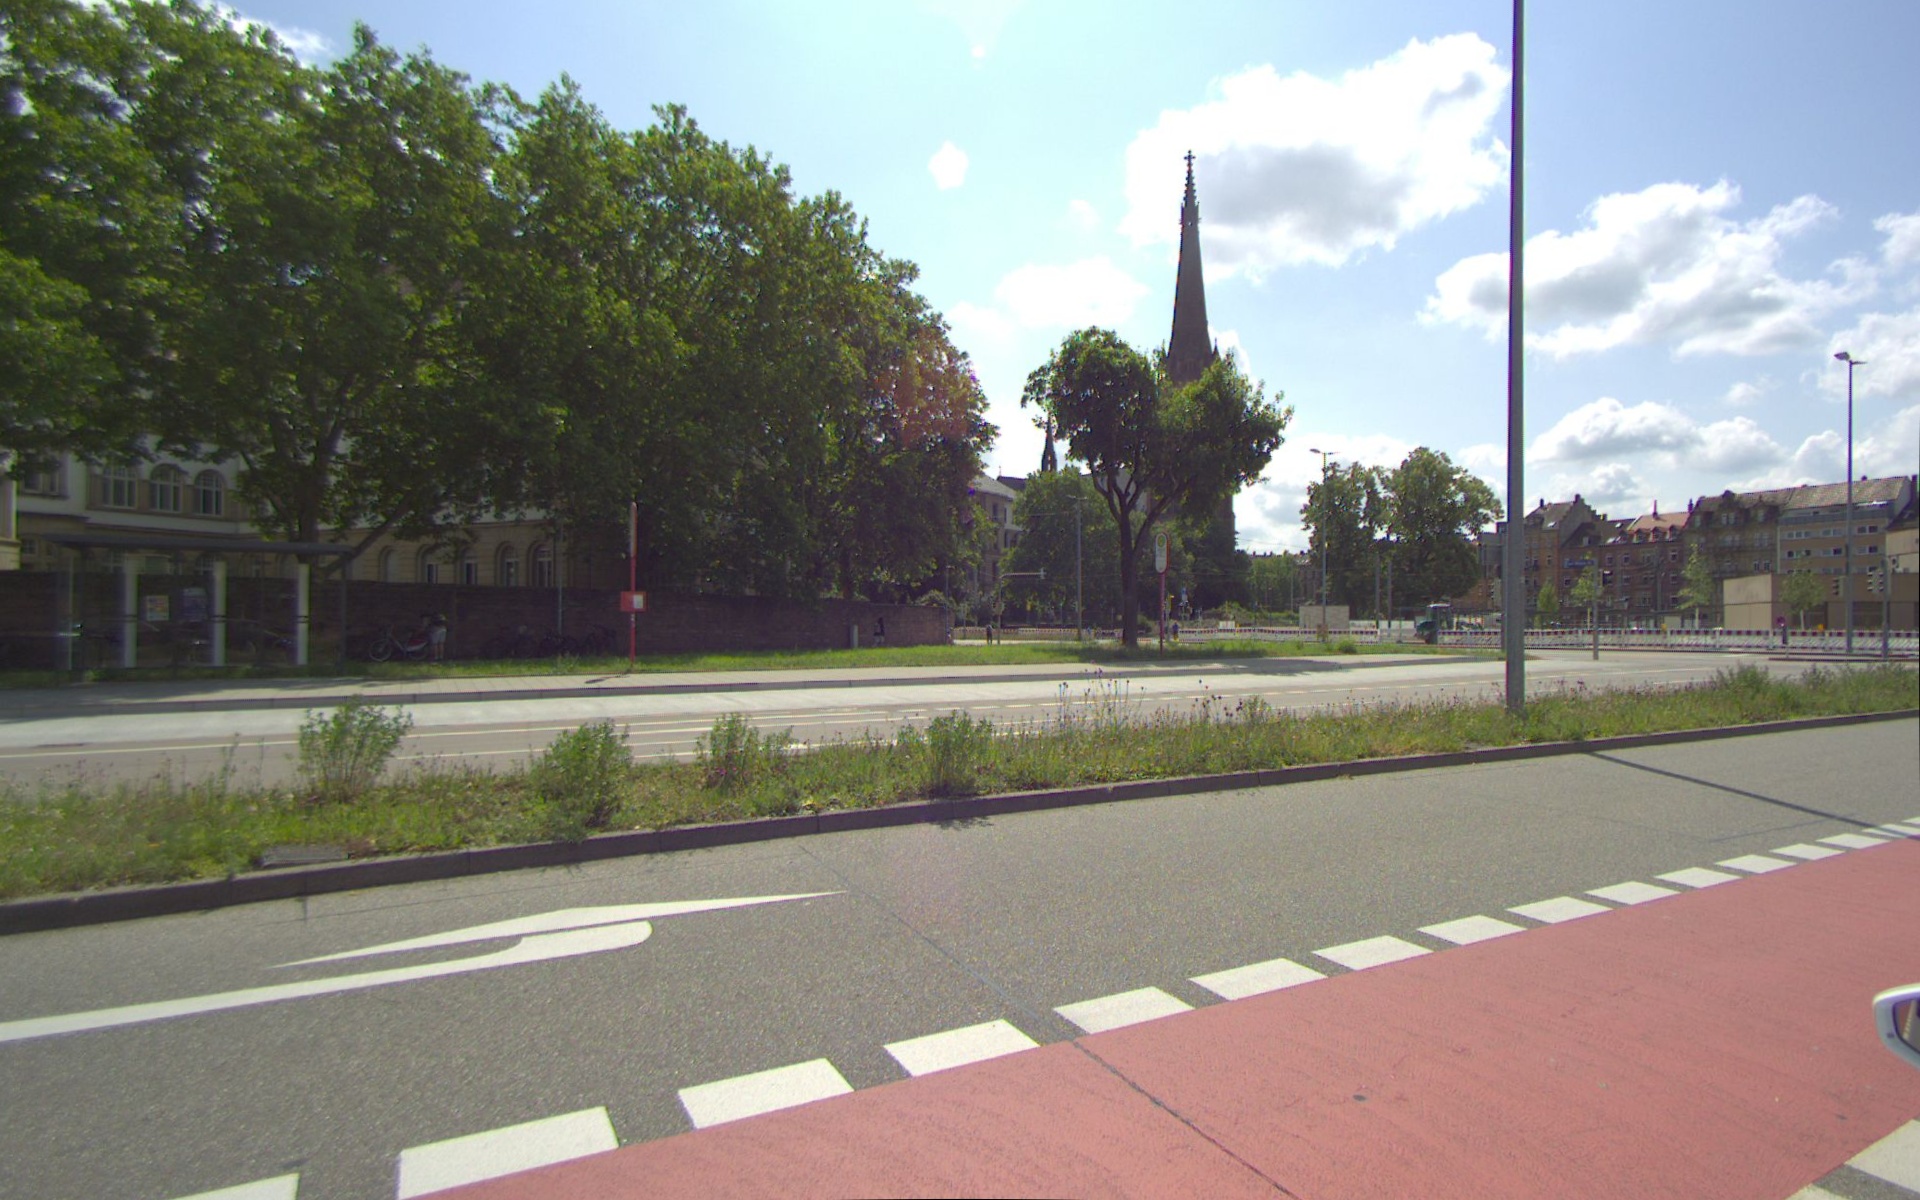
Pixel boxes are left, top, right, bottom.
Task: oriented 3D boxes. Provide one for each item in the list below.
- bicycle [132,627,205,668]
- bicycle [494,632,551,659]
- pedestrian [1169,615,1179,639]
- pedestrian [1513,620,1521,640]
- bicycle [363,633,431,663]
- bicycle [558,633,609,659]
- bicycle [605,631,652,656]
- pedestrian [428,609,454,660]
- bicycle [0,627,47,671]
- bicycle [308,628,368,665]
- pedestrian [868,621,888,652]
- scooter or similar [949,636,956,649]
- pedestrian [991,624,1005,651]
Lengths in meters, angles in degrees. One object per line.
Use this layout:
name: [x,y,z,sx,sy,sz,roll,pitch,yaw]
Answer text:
bicycle: [-19.410,1.156,24.646,0.260,0.977,1.391,0,-1,36]
bicycle: [-14.013,1.460,32.200,0.378,0.828,1.743,0,-1,36]
pedestrian: [18.573,2.351,87.238,0.642,2.040,0.626,1,-1,-35]
pedestrian: [47.299,2.513,85.361,0.409,1.674,0.425,2,0,4]
bicycle: [-16.233,1.378,29.014,0.324,0.828,1.743,0,-1,36]
bicycle: [-12.773,1.549,34.155,0.324,0.828,1.743,0,-1,36]
bicycle: [-11.768,1.534,35.682,0.324,0.828,1.743,0,-1,36]
pedestrian: [-15.170,1.003,29.372,0.627,1.492,0.506,1,-1,-32]
bicycle: [-21.250,1.088,22.326,0.260,0.977,1.391,0,-1,36]
bicycle: [-17.153,1.263,27.717,0.260,0.977,1.391,0,-1,36]
pedestrian: [-3.844,1.711,47.070,0.720,1.413,0.714,1,-1,-35]
scooter or similar: [-0.430,2.473,58.983,0.117,0.721,1.005,0,-1,17]
pedestrian: [2.816,2.791,74.688,0.713,2.040,0.721,1,-1,-32]
